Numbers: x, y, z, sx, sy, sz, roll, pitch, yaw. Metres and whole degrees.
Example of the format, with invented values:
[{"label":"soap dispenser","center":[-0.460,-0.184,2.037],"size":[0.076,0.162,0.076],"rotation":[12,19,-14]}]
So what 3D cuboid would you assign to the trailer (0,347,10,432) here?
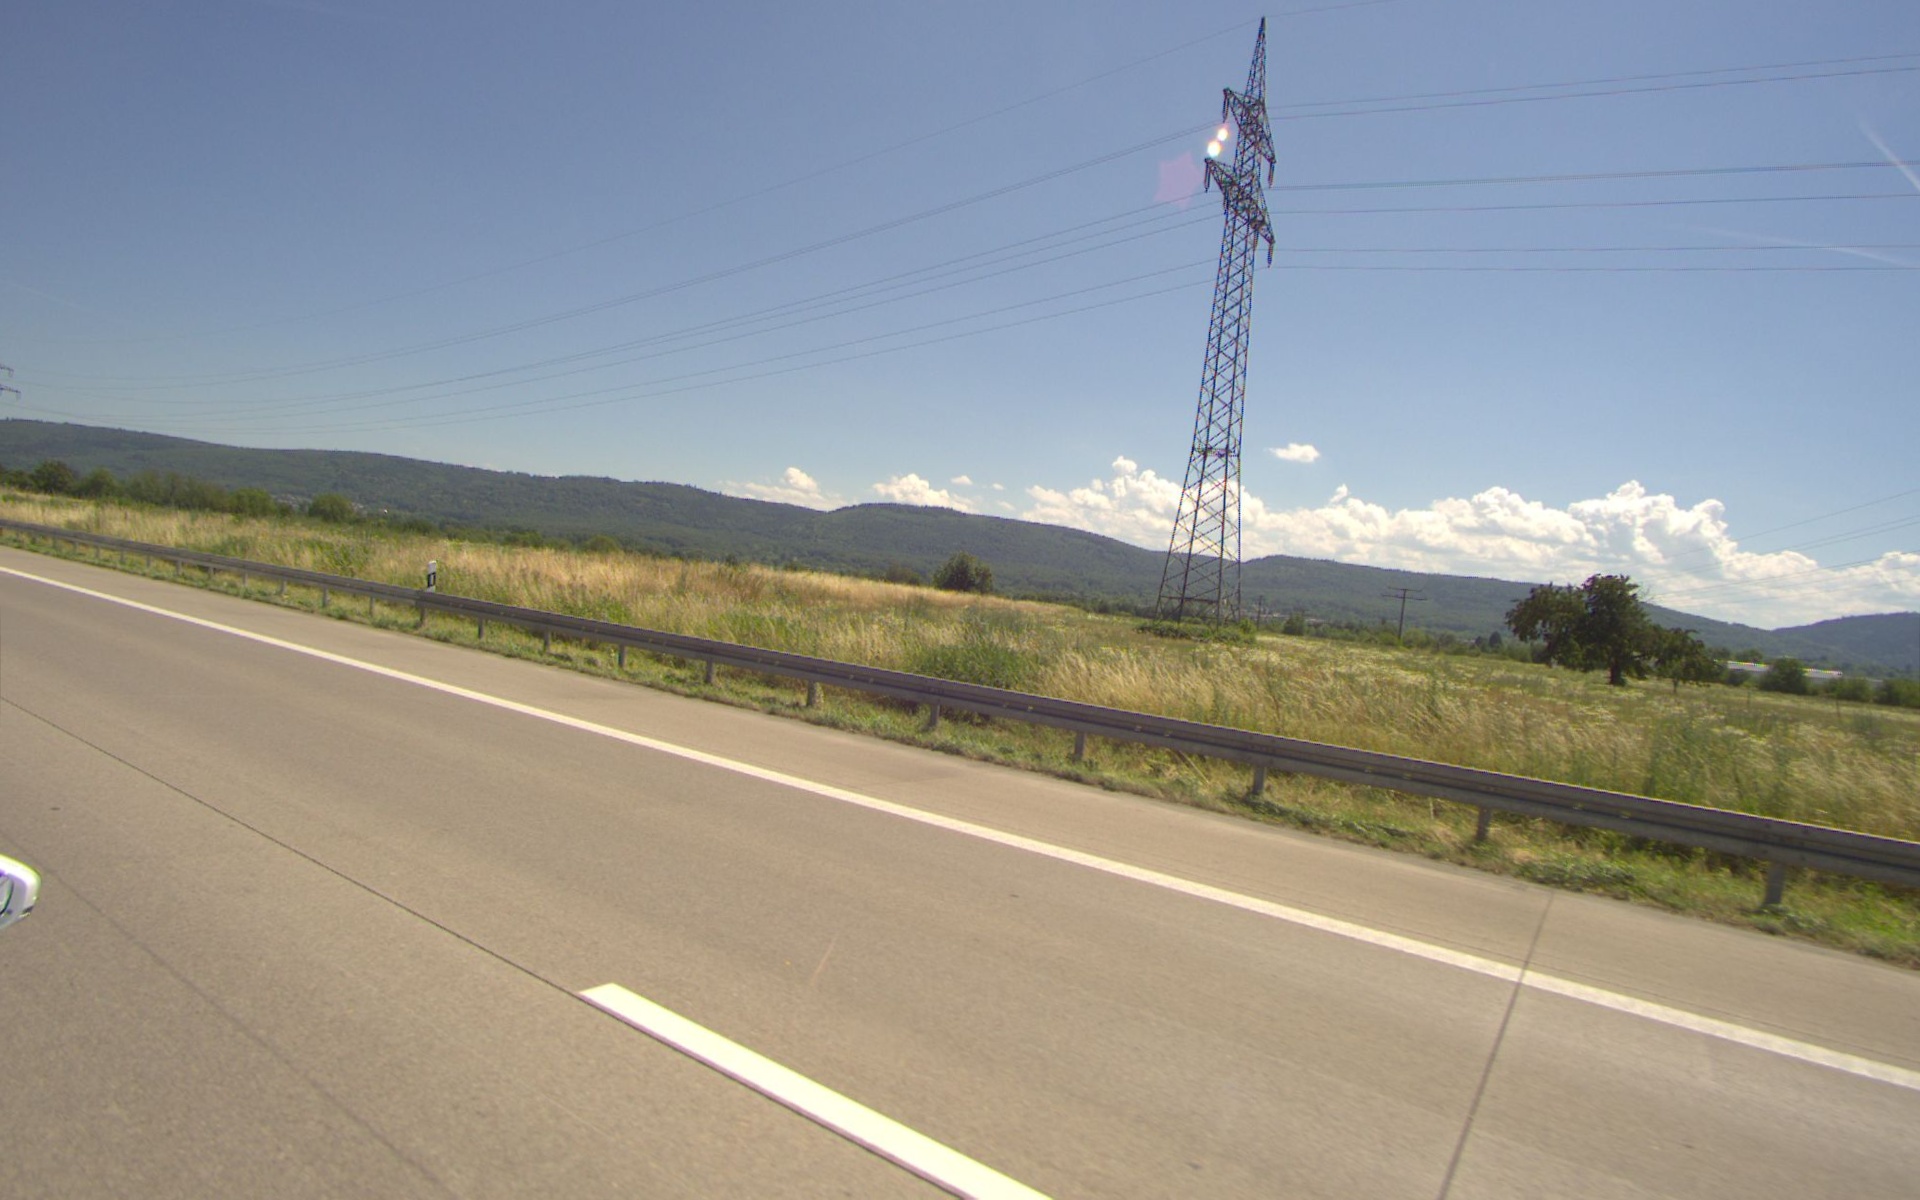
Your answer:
[{"label":"trailer","center":[-24.065,-3.292,20.572],"size":[13.972,4.109,3.023],"rotation":[7,-1,32]}]
